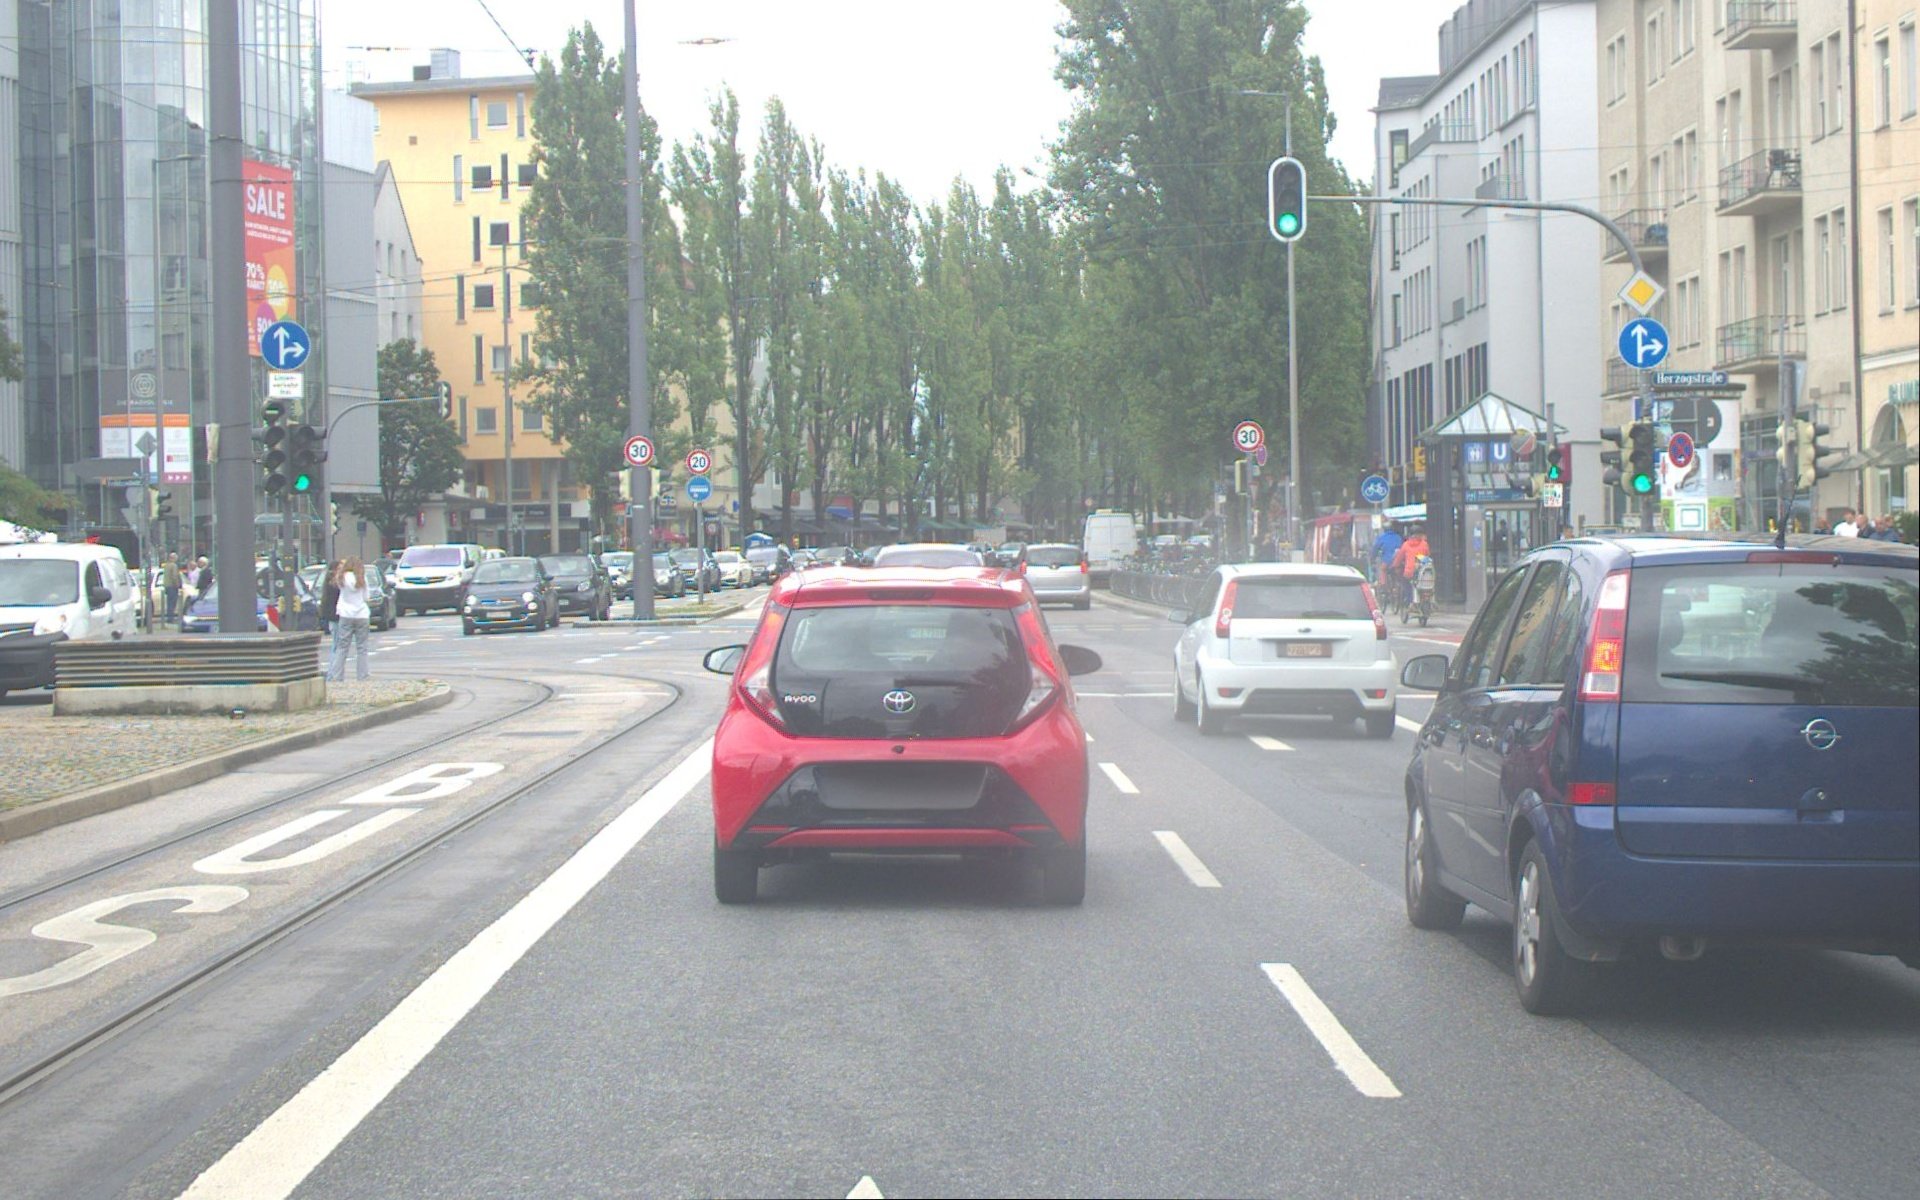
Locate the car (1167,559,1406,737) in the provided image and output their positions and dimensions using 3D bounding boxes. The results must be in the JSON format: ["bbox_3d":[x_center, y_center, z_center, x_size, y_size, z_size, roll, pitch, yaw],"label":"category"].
[{"bbox_3d":[2.790,0.378,30.003,1.699,1.421,3.497,-1,1,-1],"label":"car"}]

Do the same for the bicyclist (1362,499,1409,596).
[{"bbox_3d":[8.328,-1.024,67.285,0.762,1.863,1.133,-1,1,1],"label":"bicyclist"}]

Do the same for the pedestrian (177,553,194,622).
[{"bbox_3d":[-19.876,-0.326,88.268,0.354,1.753,0.447,-1,1,-9],"label":"pedestrian"}]

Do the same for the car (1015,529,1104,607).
[{"bbox_3d":[2.391,-0.793,83.455,1.993,1.831,4.000,-1,1,0],"label":"car"}]

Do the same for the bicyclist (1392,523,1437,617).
[{"bbox_3d":[8.123,-0.553,61.507,0.614,1.652,1.251,-1,1,1],"label":"bicyclist"}]

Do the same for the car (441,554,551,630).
[{"bbox_3d":[-9.277,-0.179,68.543,1.545,1.440,3.540,-1,1,-18],"label":"car"}]

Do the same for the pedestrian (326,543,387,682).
[{"bbox_3d":[-7.069,0.143,40.271,0.521,1.613,0.463,0,1,44],"label":"pedestrian"}]

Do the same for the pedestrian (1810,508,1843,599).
[{"bbox_3d":[15.744,-0.848,62.457,0.561,1.604,0.567,-1,4,13],"label":"pedestrian"}]

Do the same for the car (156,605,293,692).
[{"bbox_3d":[-13.279,0.857,62.287,1.677,1.391,4.233,-2,1,-2],"label":"car"}]

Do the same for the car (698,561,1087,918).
[{"bbox_3d":[-0.261,0.563,15.880,1.605,1.456,3.130,1,1,1],"label":"car"}]

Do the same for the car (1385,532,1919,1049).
[{"bbox_3d":[2.623,0.569,12.453,1.703,1.584,3.556,1,1,0],"label":"car"}]

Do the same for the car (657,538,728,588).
[{"bbox_3d":[-9.492,-1.341,122.409,1.743,1.664,4.732,-1,1,5],"label":"car"}]

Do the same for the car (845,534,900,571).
[{"bbox_3d":[-4.173,-2.295,164.967,1.994,1.686,4.920,-2,1,5],"label":"car"}]

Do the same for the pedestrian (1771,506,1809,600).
[{"bbox_3d":[15.045,-0.855,62.318,0.566,1.665,0.562,0,4,22],"label":"pedestrian"}]

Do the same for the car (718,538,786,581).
[{"bbox_3d":[-8.536,-1.673,141.209,1.937,1.733,4.587,0,1,8],"label":"car"}]

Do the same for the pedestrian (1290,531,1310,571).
[{"bbox_3d":[13.569,-1.962,137.172,0.713,1.553,0.676,-1,1,0],"label":"pedestrian"}]

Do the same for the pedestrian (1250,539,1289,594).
[{"bbox_3d":[8.613,-0.942,95.729,0.799,1.517,0.810,-1,1,31],"label":"pedestrian"}]

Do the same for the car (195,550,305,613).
[{"bbox_3d":[-18.534,-0.495,89.874,1.901,1.537,4.393,-1,1,1],"label":"car"}]

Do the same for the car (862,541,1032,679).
[{"bbox_3d":[-0.172,0.090,42.802,1.993,1.612,4.000,-1,1,-1],"label":"car"}]

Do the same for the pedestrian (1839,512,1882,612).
[{"bbox_3d":[16.065,-0.681,61.303,0.649,1.745,0.636,0,4,22],"label":"pedestrian"}]

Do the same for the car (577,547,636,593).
[{"bbox_3d":[-12.782,-1.091,124.484,1.698,1.590,4.000,-1,1,0],"label":"car"}]

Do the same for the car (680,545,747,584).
[{"bbox_3d":[-9.408,-1.362,131.717,1.765,1.417,4.638,-1,1,6],"label":"car"}]

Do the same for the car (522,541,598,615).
[{"bbox_3d":[-8.572,-0.491,73.565,1.503,1.529,2.838,-1,1,-8],"label":"car"}]

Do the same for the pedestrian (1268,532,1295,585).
[{"bbox_3d":[10.595,-1.364,113.381,0.790,1.722,0.764,-1,1,0],"label":"pedestrian"}]

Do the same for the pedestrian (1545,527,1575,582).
[{"bbox_3d":[17.668,-1.347,101.243,0.732,1.596,0.742,-1,1,0],"label":"pedestrian"}]

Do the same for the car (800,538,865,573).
[{"bbox_3d":[-5.741,-2.023,155.222,1.994,1.529,4.586,-1,1,10],"label":"car"}]

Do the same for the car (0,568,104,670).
[{"bbox_3d":[-13.831,0.251,50.048,1.672,1.374,4.614,-1,1,-2],"label":"car"}]

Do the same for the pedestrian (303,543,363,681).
[{"bbox_3d":[-7.389,0.135,40.521,0.486,1.613,0.558,-2,1,-34],"label":"pedestrian"}]

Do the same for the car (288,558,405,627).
[{"bbox_3d":[-13.296,-0.186,74.724,1.843,1.412,4.035,-1,1,0],"label":"car"}]

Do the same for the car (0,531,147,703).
[{"bbox_3d":[-10.717,0.173,39.659,1.786,1.849,4.219,-2,1,-3],"label":"car"}]

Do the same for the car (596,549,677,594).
[{"bbox_3d":[-10.576,-0.933,112.683,1.994,1.407,4.167,-1,1,4],"label":"car"}]

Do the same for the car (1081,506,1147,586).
[{"bbox_3d":[5.353,-1.882,120.248,2.107,2.709,4.804,-1,1,1],"label":"car"}]
